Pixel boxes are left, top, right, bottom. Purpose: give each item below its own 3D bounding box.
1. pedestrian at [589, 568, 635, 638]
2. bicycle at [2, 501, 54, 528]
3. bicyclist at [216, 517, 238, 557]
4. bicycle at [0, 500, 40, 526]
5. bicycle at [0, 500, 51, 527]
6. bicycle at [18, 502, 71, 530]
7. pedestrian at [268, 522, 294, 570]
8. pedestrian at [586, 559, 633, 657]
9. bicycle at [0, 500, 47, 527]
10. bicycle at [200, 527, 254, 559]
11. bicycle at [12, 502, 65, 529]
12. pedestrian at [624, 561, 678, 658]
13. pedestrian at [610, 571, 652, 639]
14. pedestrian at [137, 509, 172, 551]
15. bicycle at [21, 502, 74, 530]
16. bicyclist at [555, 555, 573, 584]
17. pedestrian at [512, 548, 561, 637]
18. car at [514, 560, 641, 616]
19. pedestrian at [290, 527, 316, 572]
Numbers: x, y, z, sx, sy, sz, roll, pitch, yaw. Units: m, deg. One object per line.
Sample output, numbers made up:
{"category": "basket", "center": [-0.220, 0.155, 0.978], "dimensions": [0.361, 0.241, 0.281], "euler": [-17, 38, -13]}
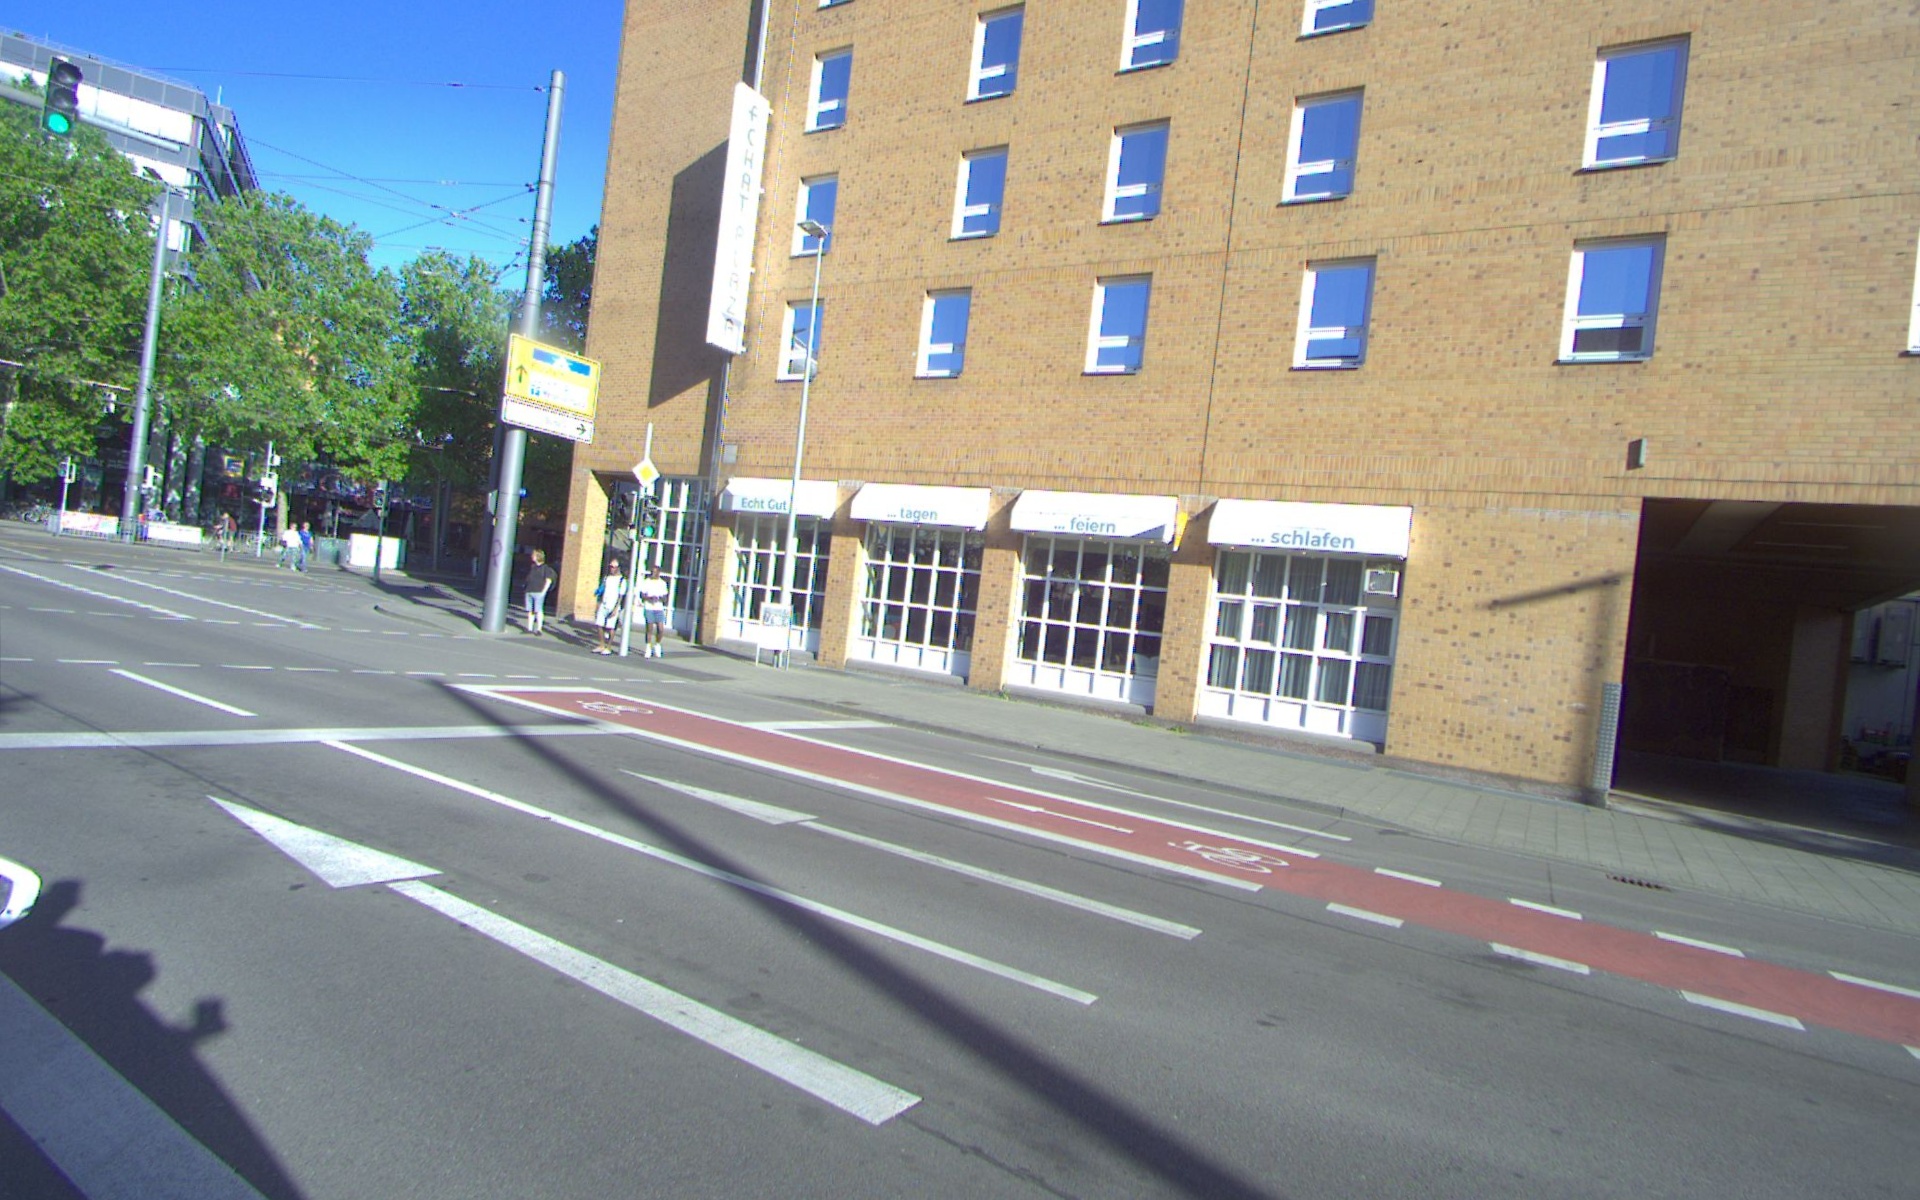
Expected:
{"category": "pedestrian", "center": [-7.785, 0.069, 22.509], "dimensions": [0.591, 1.470, 0.593], "euler": [6, 0, 32]}
{"category": "bicycle", "center": [-48.368, -4.434, 52.247], "dimensions": [0.354, 1.058, 1.884], "euler": [6, -2, 31]}
{"category": "bicyclist", "center": [-36.235, -3.119, 49.715], "dimensions": [0.396, 1.859, 0.585], "euler": [6, -1, 31]}
{"category": "bicycle", "center": [-50.149, -4.644, 53.344], "dimensions": [0.354, 1.058, 1.885], "euler": [7, -2, 31]}
{"category": "bicycle", "center": [-48.768, -4.487, 52.504], "dimensions": [0.354, 1.058, 1.885], "euler": [7, -2, 31]}
{"category": "bicycle", "center": [-46.656, -4.280, 51.284], "dimensions": [0.354, 1.058, 1.884], "euler": [6, -2, 31]}
{"category": "pedestrian", "center": [-23.528, -1.864, 34.871], "dimensions": [0.563, 1.550, 0.695], "euler": [8, -2, -37]}
{"category": "pedestrian", "center": [-6.752, 0.157, 19.366], "dimensions": [0.588, 1.804, 0.675], "euler": [3, 4, -34]}
{"category": "bicycle", "center": [-49.194, -4.538, 52.745], "dimensions": [0.354, 1.058, 1.885], "euler": [7, -2, 31]}
{"category": "bicycle", "center": [-36.242, -2.804, 49.747], "dimensions": [0.414, 1.228, 2.046], "euler": [6, -2, 32]}
{"category": "bicycle", "center": [-47.341, -4.337, 51.695], "dimensions": [0.354, 1.058, 1.884], "euler": [6, -2, 31]}
{"category": "pedestrian", "center": [-5.988, 0.184, 19.484], "dimensions": [0.673, 1.802, 0.591], "euler": [6, 1, 43]}
{"category": "pedestrian", "center": [-7.532, 0.116, 23.035], "dimensions": [0.543, 1.495, 0.593], "euler": [6, 0, 32]}
{"category": "pedestrian", "center": [-36.007, -3.116, 44.980], "dimensions": [0.747, 1.724, 0.834], "euler": [6, -1, 32]}
{"category": "bicycle", "center": [-46.057, -4.236, 50.787], "dimensions": [0.354, 1.058, 1.884], "euler": [6, -2, 31]}
{"category": "bicyclist", "center": [-22.550, -1.737, 57.343], "dimensions": [0.556, 1.536, 0.634], "euler": [7, -1, 4]}
{"category": "pedestrian", "center": [-9.039, -0.155, 21.505], "dimensions": [0.726, 1.813, 0.510], "euler": [7, -1, -19]}
{"category": "car", "center": [-14.258, -0.435, 37.603], "dimensions": [4.011, 1.466, 1.719], "euler": [9, -2, -38]}
{"category": "pedestrian", "center": [-23.030, -1.755, 35.256], "dimensions": [0.563, 1.496, 0.695], "euler": [8, -2, -37]}
